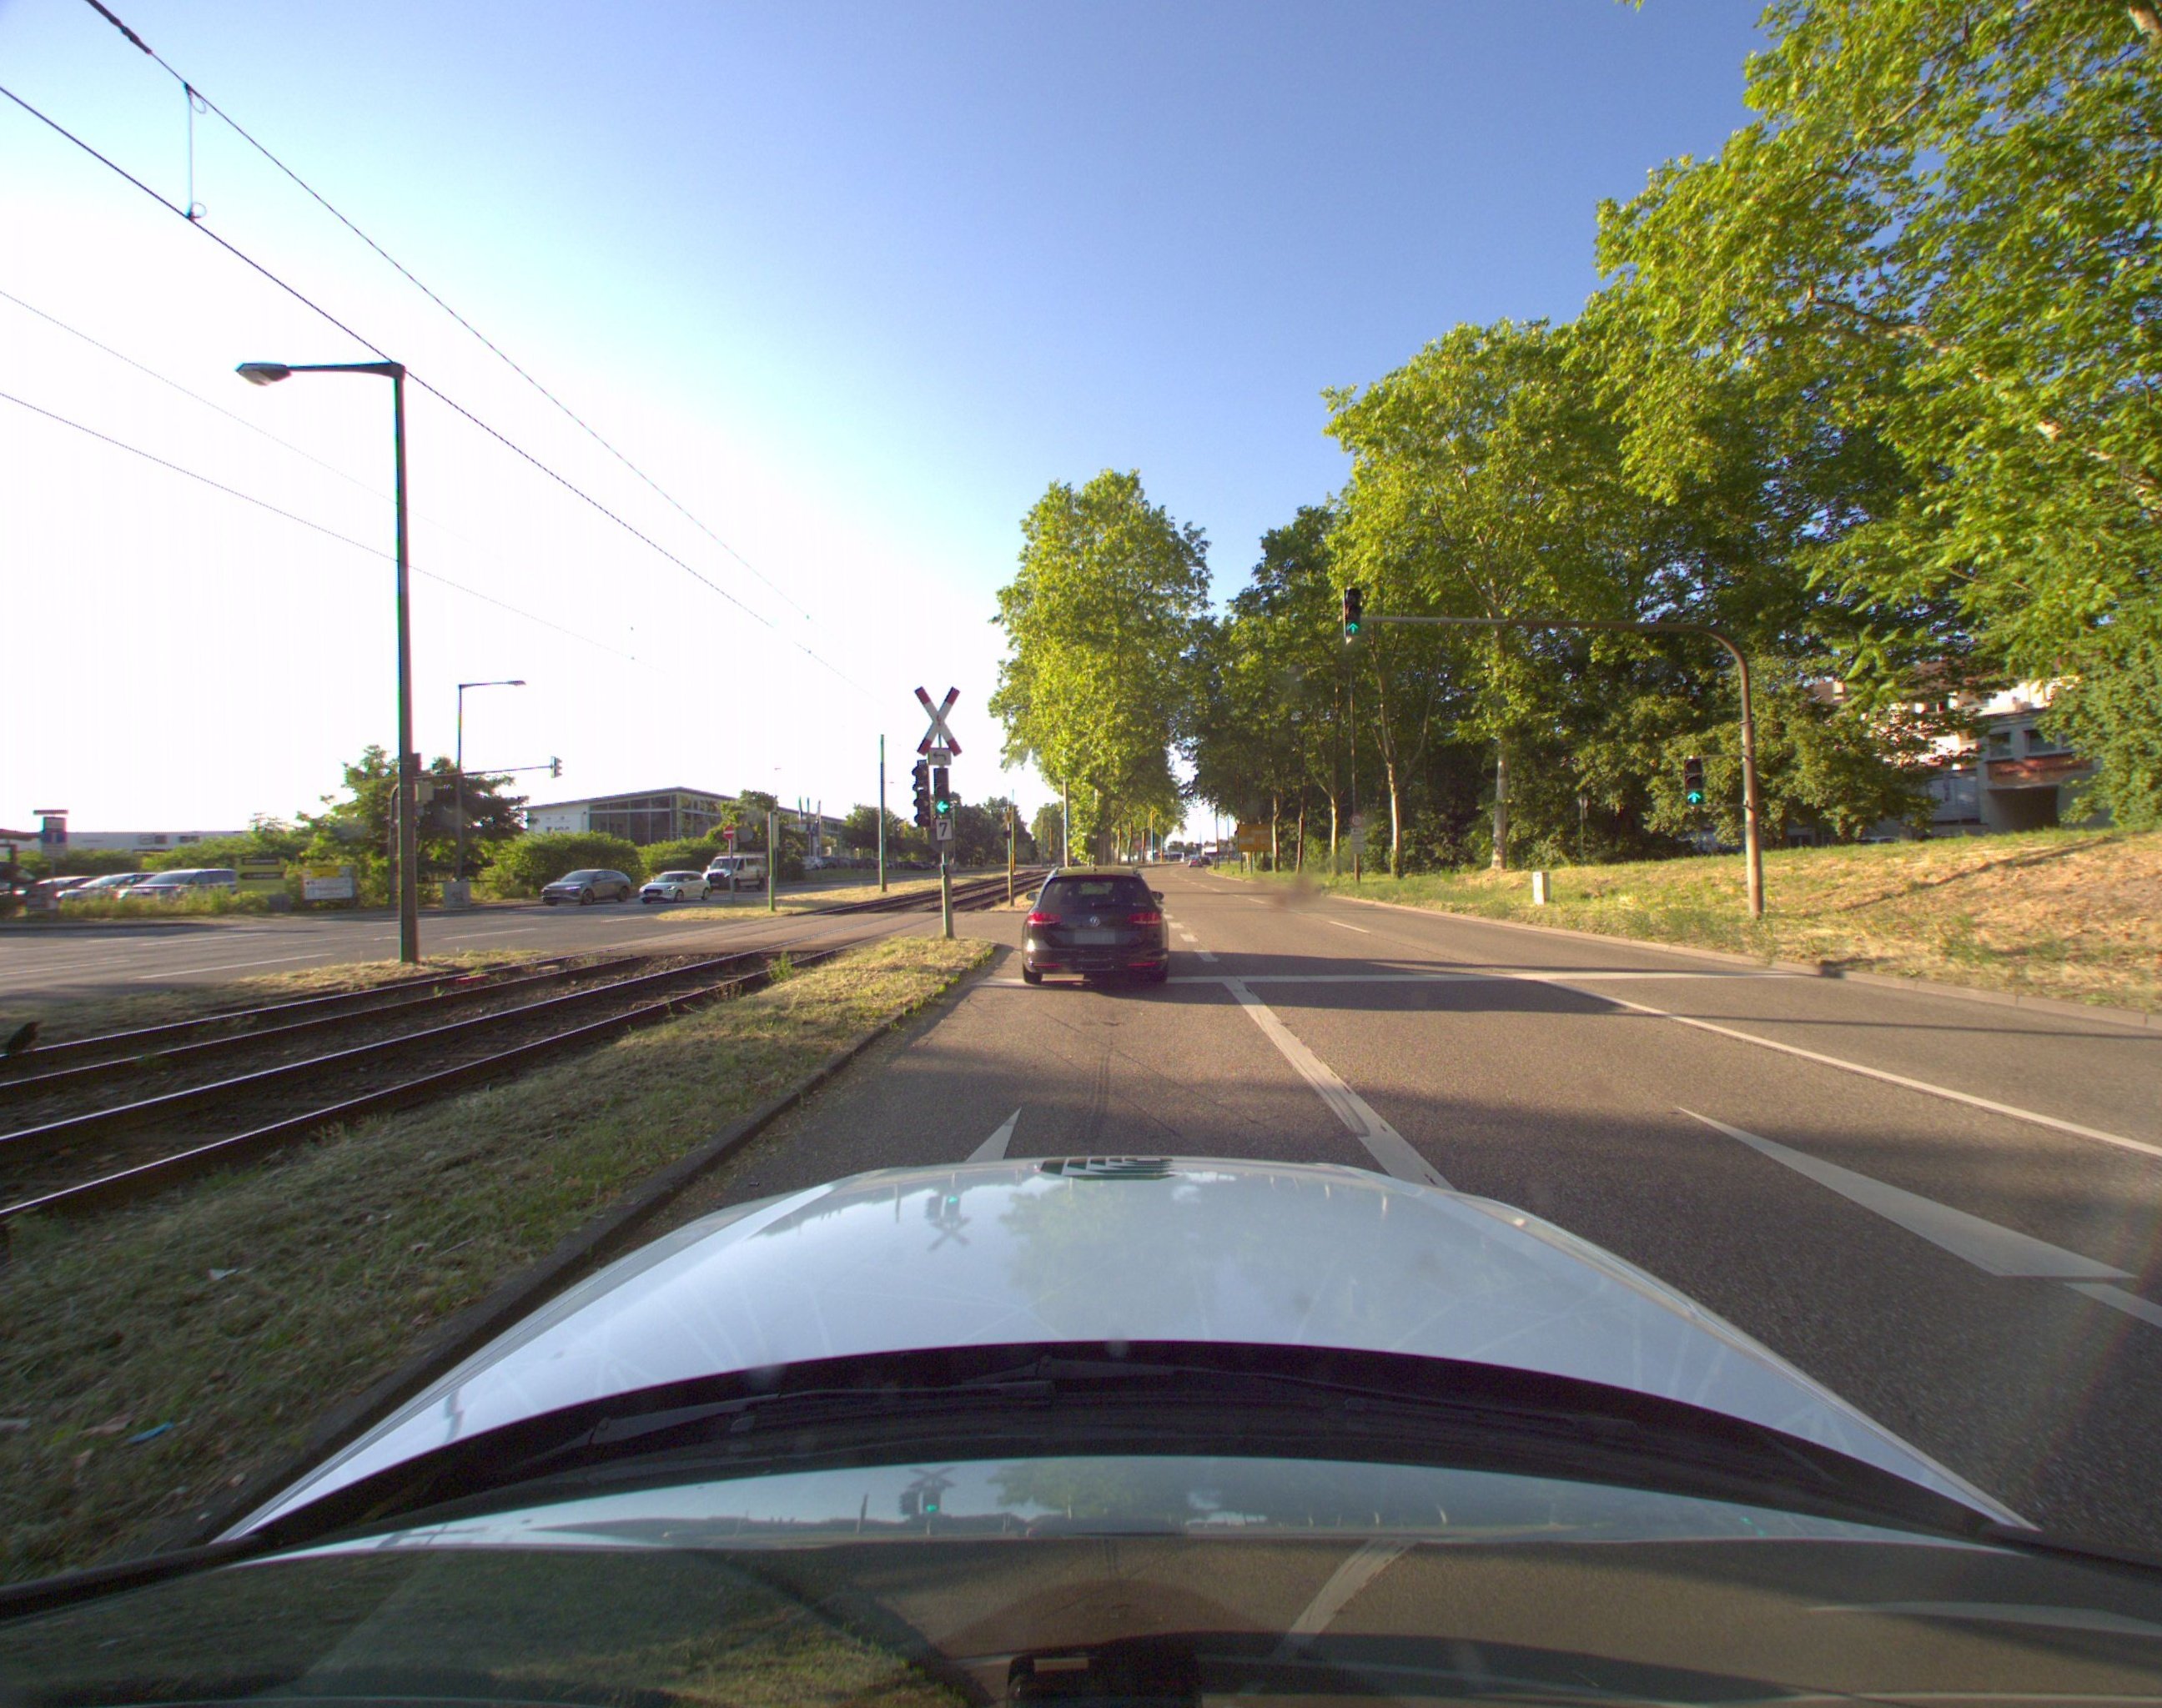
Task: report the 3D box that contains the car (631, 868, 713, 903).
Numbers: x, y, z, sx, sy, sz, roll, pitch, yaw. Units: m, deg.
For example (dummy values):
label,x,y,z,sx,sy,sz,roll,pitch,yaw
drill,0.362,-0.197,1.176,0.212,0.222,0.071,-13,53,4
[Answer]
label,x,y,z,sx,sy,sz,roll,pitch,yaw
car,-19.788,1.492,39.587,1.863,1.618,4.001,-1,-1,2

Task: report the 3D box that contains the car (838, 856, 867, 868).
label,x,y,z,sx,sy,sz,roll,pitch,yaw
car,-31.245,1.090,111.495,3.796,1.567,1.749,0,-1,-17

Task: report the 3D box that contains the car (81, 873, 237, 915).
label,x,y,z,sx,sy,sz,roll,pitch,yaw
car,-39.483,1.683,35.042,2.106,1.648,4.000,0,-1,1

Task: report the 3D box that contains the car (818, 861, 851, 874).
label,x,y,z,sx,sy,sz,roll,pitch,yaw
car,-30.202,1.644,99.890,3.796,1.567,1.749,0,-1,-17

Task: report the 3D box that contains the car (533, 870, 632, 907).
label,x,y,z,sx,sy,sz,roll,pitch,yaw
car,-23.892,1.613,39.259,1.863,1.618,4.549,-1,-1,2

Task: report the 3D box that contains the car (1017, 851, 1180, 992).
label,x,y,z,sx,sy,sz,roll,pitch,yaw
car,0.092,0.783,11.248,1.820,1.556,4.253,0,-1,-3

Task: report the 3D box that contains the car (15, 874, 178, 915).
label,x,y,z,sx,sy,sz,roll,pitch,yaw
car,-42.219,1.699,35.092,2.106,1.648,4.000,0,-1,1

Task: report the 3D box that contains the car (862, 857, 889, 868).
label,x,y,z,sx,sy,sz,roll,pitch,yaw
car,-30.555,1.238,121.046,3.796,1.567,1.749,0,-1,-17

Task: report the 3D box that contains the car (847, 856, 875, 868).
label,x,y,z,sx,sy,sz,roll,pitch,yaw
car,-31.030,1.143,114.881,3.796,1.567,1.749,0,-1,-17

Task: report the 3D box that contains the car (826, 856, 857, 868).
label,x,y,z,sx,sy,sz,roll,pitch,yaw
car,-31.119,1.056,105.932,3.796,1.567,1.749,0,-1,-17

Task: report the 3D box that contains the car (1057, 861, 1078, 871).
label,x,y,z,sx,sy,sz,roll,pitch,yaw
car,-2.233,1.985,133.621,1.792,1.684,4.023,-1,-1,25

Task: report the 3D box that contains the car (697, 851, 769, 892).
label,x,y,z,sx,sy,sz,roll,pitch,yaw
car,-23.131,1.148,54.461,1.995,2.566,5.880,-1,-1,3

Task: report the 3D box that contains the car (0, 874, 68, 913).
label,x,y,z,sx,sy,sz,roll,pitch,yaw
car,-47.154,1.706,34.859,2.106,1.648,4.321,0,-1,1

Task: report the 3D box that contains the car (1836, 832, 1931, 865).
label,x,y,z,sx,sy,sz,roll,pitch,yaw
car,44.017,-0.286,44.686,3.993,1.706,1.909,0,-1,-15

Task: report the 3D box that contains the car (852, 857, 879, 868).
label,x,y,z,sx,sy,sz,roll,pitch,yaw
car,-31.129,1.188,117.692,3.796,1.567,1.749,0,-1,-17

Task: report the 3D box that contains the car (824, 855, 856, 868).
label,x,y,z,sx,sy,sz,roll,pitch,yaw
car,-30.447,0.950,103.011,3.796,1.567,1.749,0,-1,-17

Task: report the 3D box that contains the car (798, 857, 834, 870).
label,x,y,z,sx,sy,sz,roll,pitch,yaw
car,-30.339,1.082,93.289,3.796,1.388,1.749,0,-1,-17

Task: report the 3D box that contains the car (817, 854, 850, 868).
label,x,y,z,sx,sy,sz,roll,pitch,yaw
car,-29.448,0.848,97.001,3.796,1.567,1.749,0,-1,-17

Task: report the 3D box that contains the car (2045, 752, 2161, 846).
label,x,y,z,sx,sy,sz,roll,pitch,yaw
car,30.744,-1.557,22.580,1.791,2.513,5.639,0,-1,7

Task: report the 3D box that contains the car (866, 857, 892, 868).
label,x,y,z,sx,sy,sz,roll,pitch,yaw
car,-30.670,1.283,123.842,3.796,1.567,1.749,0,-1,-17

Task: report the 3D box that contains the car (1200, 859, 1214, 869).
label,x,y,z,sx,sy,sz,roll,pitch,yaw
car,19.623,1.588,126.343,1.981,1.440,4.012,-1,-1,11

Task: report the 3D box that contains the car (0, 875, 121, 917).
label,x,y,z,sx,sy,sz,roll,pitch,yaw
car,-44.911,1.757,35.001,2.106,1.648,4.321,0,-1,1

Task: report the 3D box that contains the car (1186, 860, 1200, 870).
label,x,y,z,sx,sy,sz,roll,pitch,yaw
car,16.064,1.530,116.435,1.982,1.442,4.009,-1,-1,8
